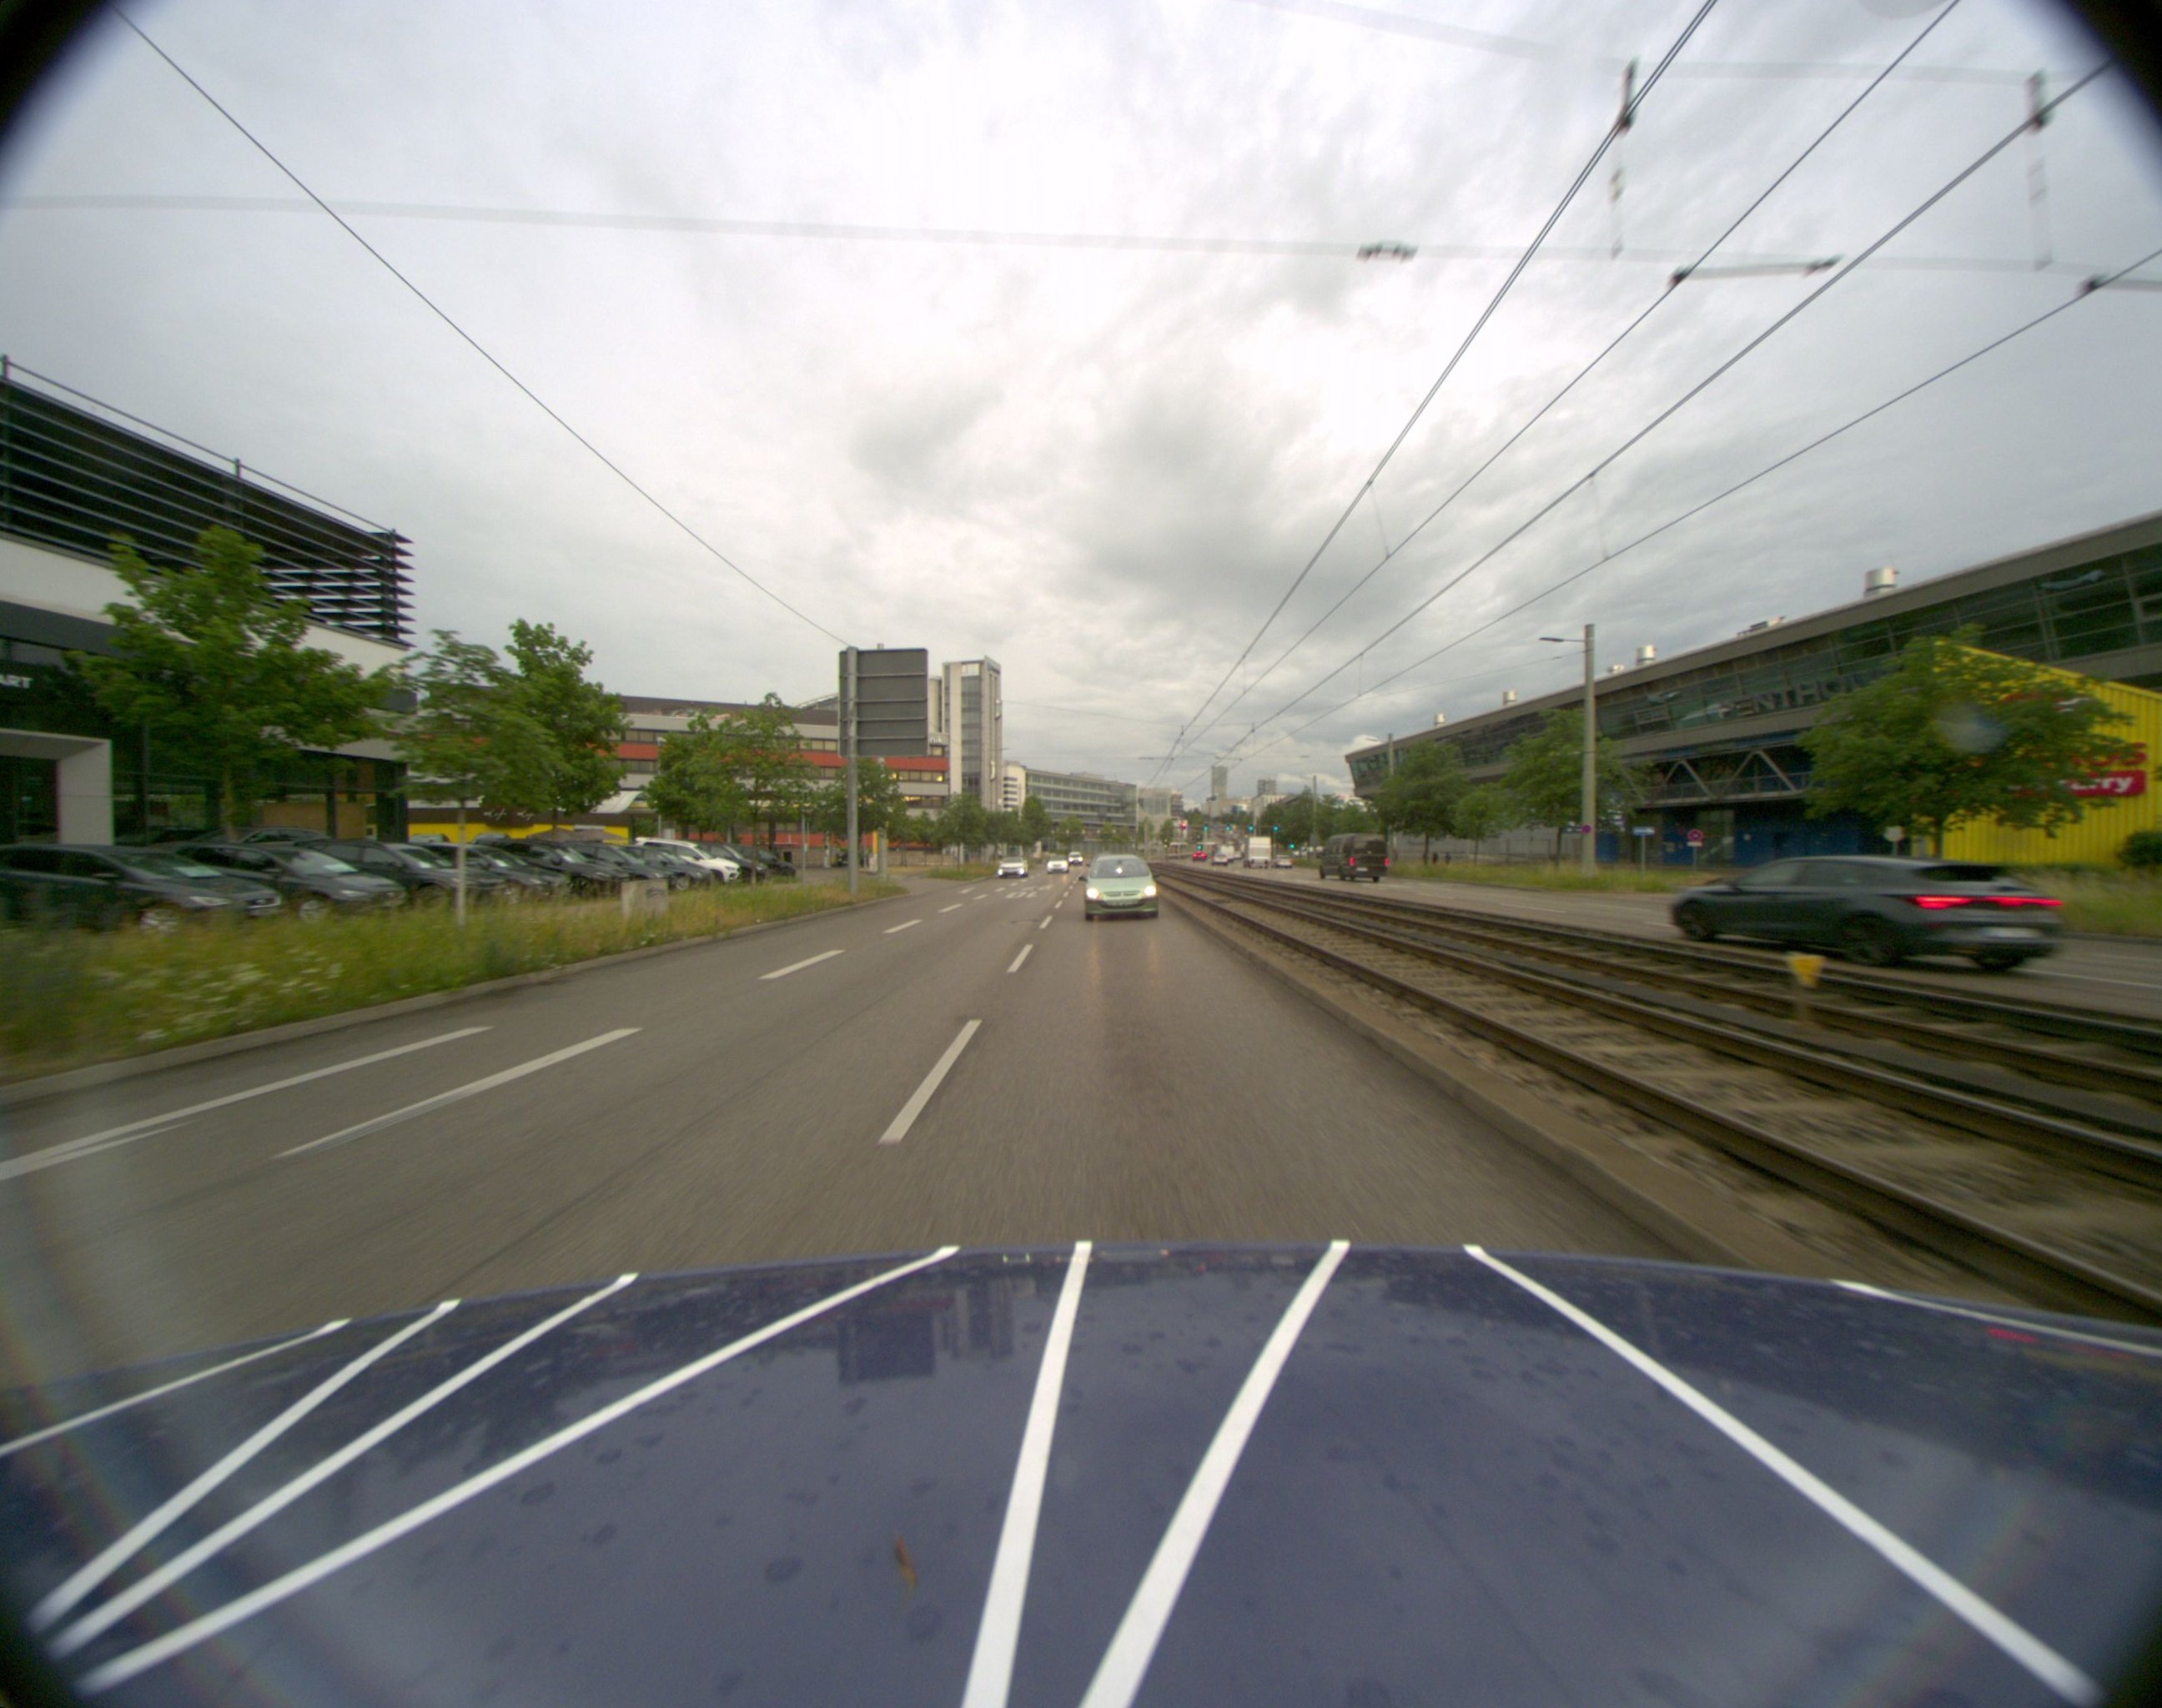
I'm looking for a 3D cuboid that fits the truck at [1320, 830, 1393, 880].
[{"bbox_3d":[15.250,0.022,42.502,2.243,2.550,7.017,0,1,6],"label":"truck"}]

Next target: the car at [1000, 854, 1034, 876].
[{"bbox_3d":[-4.569,0.755,54.747,1.878,1.485,3.837,-1,0,3],"label":"car"}]

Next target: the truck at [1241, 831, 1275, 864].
[{"bbox_3d":[18.878,-0.648,81.243,2.732,3.338,7.156,2,0,7],"label":"truck"}]

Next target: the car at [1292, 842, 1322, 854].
[{"bbox_3d":[41.874,-1.107,140.810,5.063,2.318,1.998,0,1,-7],"label":"car"}]

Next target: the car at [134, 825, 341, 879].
[{"bbox_3d":[-24.947,-0.060,22.705,1.784,1.464,3.898,0,0,0],"label":"car"}]

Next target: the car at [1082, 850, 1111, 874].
[{"bbox_3d":[1.072,0.534,53.733,1.762,1.535,3.713,-3,1,-2],"label":"car"}]

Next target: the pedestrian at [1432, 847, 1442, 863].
[{"bbox_3d":[32.860,0.125,70.119,0.452,1.448,0.653,-3,1,-9],"label":"pedestrian"}]

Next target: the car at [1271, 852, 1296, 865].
[{"bbox_3d":[22.410,0.477,84.284,1.901,1.480,4.424,0,0,5],"label":"car"}]

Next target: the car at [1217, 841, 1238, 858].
[{"bbox_3d":[21.941,-0.642,113.735,2.438,2.486,6.550,1,0,6],"label":"car"}]

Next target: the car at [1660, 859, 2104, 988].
[{"bbox_3d":[10.805,0.814,10.836,1.807,1.421,4.235,1,0,-1],"label":"car"}]

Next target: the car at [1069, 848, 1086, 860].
[{"bbox_3d":[-0.479,0.023,104.178,1.889,1.584,3.983,-1,0,7],"label":"car"}]

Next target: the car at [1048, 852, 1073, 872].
[{"bbox_3d":[-1.682,0.685,63.705,1.818,1.584,3.836,0,1,2],"label":"car"}]

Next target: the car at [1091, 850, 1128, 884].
[{"bbox_3d":[1.489,0.606,38.755,1.762,1.535,3.714,-3,1,3],"label":"car"}]

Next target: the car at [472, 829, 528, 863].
[{"bbox_3d":[-29.878,-0.374,39.188,1.848,1.634,4.305,0,0,-31],"label":"car"}]

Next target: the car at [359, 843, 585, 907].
[{"bbox_3d":[-16.444,0.559,20.733,4.500,1.610,1.820,1,1,-8],"label":"car"}]

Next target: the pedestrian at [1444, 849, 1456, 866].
[{"bbox_3d":[32.122,0.325,66.164,0.609,1.431,0.745,-3,1,-3],"label":"pedestrian"}]

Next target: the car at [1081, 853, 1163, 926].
[{"bbox_3d":[0.974,0.789,19.014,1.762,1.489,4.137,-3,1,2],"label":"car"}]

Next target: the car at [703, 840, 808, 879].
[{"bbox_3d":[-16.092,0.289,37.718,1.873,1.805,4.401,2,0,41],"label":"car"}]

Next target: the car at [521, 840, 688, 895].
[{"bbox_3d":[-16.296,0.456,26.225,4.501,1.742,1.819,1,1,-11],"label":"car"}]

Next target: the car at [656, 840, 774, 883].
[{"bbox_3d":[-16.193,0.318,33.811,4.392,1.779,1.876,1,1,-12],"label":"car"}]

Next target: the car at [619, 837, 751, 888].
[{"bbox_3d":[-16.164,0.340,31.270,4.503,1.980,1.818,1,1,-16],"label":"car"}]

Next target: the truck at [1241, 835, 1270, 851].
[{"bbox_3d":[42.761,-2.572,185.556,4.081,3.734,10.874,0,0,29],"label":"truck"}]

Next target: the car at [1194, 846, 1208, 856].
[{"bbox_3d":[19.402,-0.480,123.149,1.913,1.647,4.362,2,0,4],"label":"car"}]

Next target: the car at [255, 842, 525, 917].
[{"bbox_3d":[-16.323,0.588,18.197,4.501,1.653,1.819,1,1,-10],"label":"car"}]

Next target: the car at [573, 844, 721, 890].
[{"bbox_3d":[-16.294,0.498,28.747,4.502,1.628,1.819,1,1,-13],"label":"car"}]

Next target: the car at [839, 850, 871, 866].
[{"bbox_3d":[-20.944,0.345,70.607,1.784,1.411,3.782,1,0,1],"label":"car"}]

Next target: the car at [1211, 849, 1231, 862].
[{"bbox_3d":[16.818,0.195,91.420,1.809,1.490,4.442,2,0,3],"label":"car"}]

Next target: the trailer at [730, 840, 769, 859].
[{"bbox_3d":[-38.187,-0.499,87.461,4.005,2.134,1.835,0,1,-25],"label":"trailer"}]

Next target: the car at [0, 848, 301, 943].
[{"bbox_3d":[-16.516,0.681,13.094,4.058,1.493,1.685,1,1,-10],"label":"car"}]

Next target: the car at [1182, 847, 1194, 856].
[{"bbox_3d":[21.179,-0.502,150.183,1.998,1.721,4.679,1,0,3],"label":"car"}]

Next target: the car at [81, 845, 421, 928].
[{"bbox_3d":[-16.661,0.639,15.515,4.501,1.560,1.819,1,1,-10],"label":"car"}]

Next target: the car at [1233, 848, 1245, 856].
[{"bbox_3d":[27.618,-0.402,132.721,1.751,1.392,4.002,0,1,8],"label":"car"}]

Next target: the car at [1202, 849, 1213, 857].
[{"bbox_3d":[27.380,-0.198,164.467,1.944,1.661,4.510,1,0,5],"label":"car"}]

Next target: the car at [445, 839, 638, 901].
[{"bbox_3d":[-16.482,0.486,23.454,4.501,1.785,1.819,1,1,-11],"label":"car"}]

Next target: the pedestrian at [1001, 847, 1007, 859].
[{"bbox_3d":[-12.399,-0.101,121.824,0.683,1.890,0.677,-3,1,-20],"label":"pedestrian"}]

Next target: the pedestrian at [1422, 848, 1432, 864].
[{"bbox_3d":[32.081,0.161,70.409,0.512,1.448,0.653,-3,1,-9],"label":"pedestrian"}]
